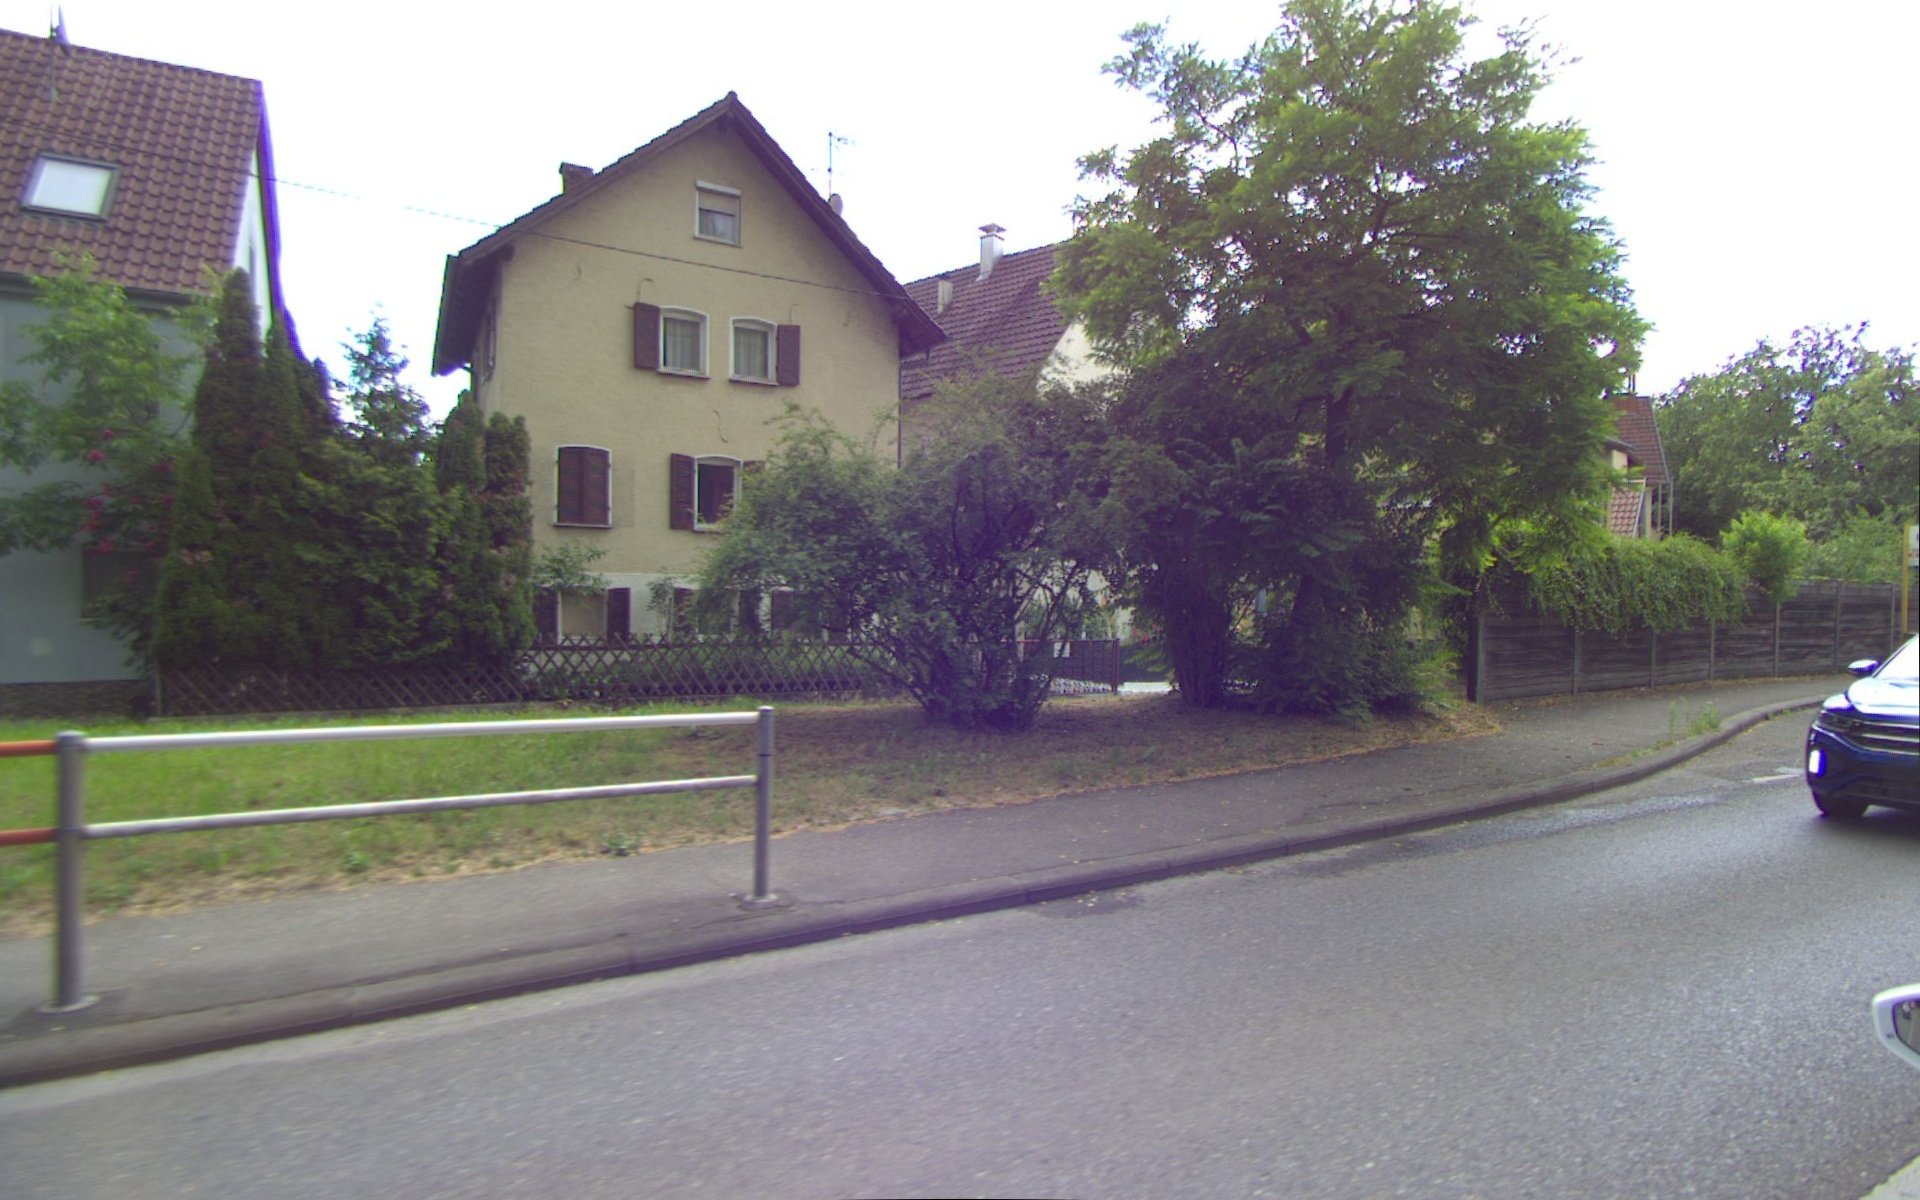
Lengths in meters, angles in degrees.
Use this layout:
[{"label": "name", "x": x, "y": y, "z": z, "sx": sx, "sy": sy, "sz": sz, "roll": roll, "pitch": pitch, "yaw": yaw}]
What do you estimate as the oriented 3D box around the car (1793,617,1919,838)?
[{"label": "car", "x": 8.318, "y": 0.886, "z": 7.766, "sx": 4.053, "sy": 1.488, "sz": 1.707, "roll": 0, "pitch": 0, "yaw": -32}]
